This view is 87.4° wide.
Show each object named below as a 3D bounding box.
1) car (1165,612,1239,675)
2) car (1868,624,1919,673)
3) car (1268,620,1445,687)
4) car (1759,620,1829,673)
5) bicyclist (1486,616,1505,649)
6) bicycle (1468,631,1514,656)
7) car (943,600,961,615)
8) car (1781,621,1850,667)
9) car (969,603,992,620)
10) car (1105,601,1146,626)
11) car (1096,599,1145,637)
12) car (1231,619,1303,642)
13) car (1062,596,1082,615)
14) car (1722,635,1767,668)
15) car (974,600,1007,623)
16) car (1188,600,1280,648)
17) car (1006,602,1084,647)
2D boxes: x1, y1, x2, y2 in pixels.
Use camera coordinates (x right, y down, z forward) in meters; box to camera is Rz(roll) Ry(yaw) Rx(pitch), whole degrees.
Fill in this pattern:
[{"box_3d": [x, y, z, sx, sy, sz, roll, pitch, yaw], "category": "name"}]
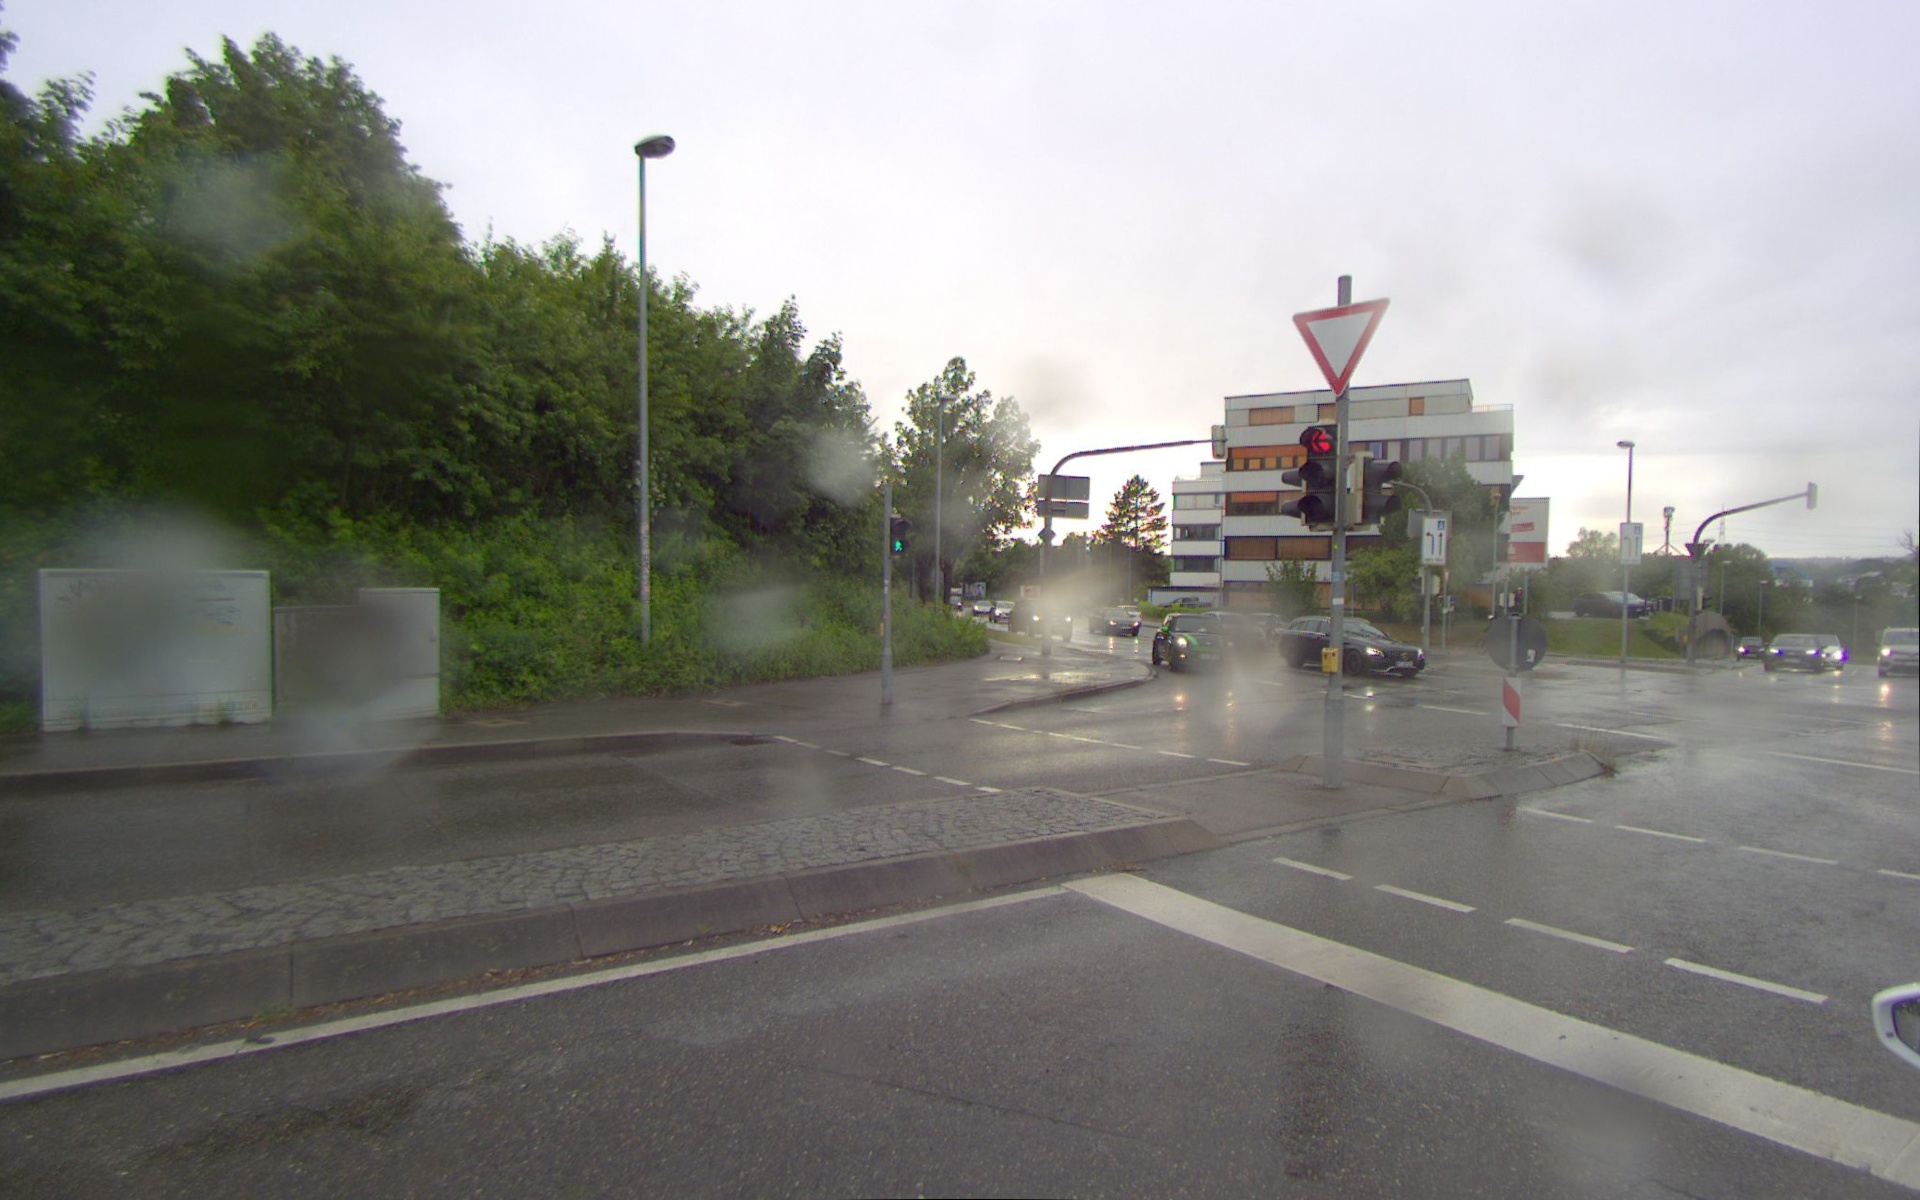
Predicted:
[{"box_3d": [6.147, 1.065, 25.803, 1.647, 1.405, 3.462, 2, 1, 11], "category": "car"}, {"box_3d": [34.902, 1.767, 36.967, 3.974, 1.639, 1.973, 1, 1, -45], "category": "car"}, {"box_3d": [10.602, 1.376, 27.269, 1.968, 1.496, 4.656, 1, 1, -18], "category": "car"}, {"box_3d": [33.609, 1.804, 40.441, 1.971, 1.920, 3.978, 2, 1, 42], "category": "car"}, {"box_3d": [24.442, 1.479, 45.832, 0.597, 1.465, 0.539, 1, 1, -36], "category": "bicyclist"}, {"box_3d": [24.306, 1.979, 46.020, 0.604, 1.066, 1.762, 1, 1, -35], "category": "bicycle"}, {"box_3d": [-0.791, 0.784, 107.115, 1.809, 1.534, 4.000, 1, 0, 1], "category": "car"}, {"box_3d": [38.911, 1.956, 45.648, 3.972, 1.920, 1.974, 1, 1, -44], "category": "car"}, {"box_3d": [1.727, 0.981, 86.990, 1.820, 1.377, 4.445, 1, 1, -1], "category": "car"}, {"box_3d": [12.062, 0.962, 73.349, 1.920, 1.617, 3.995, 1, 1, -6], "category": "car"}, {"box_3d": [8.410, 0.897, 52.788, 1.672, 1.862, 3.998, 1, 1, -4], "category": "car"}, {"box_3d": [17.305, 1.718, 56.629, 3.467, 1.120, 1.810, 2, 1, 43], "category": "car"}, {"box_3d": [11.497, 0.547, 103.011, 1.959, 1.873, 4.002, 1, 1, 6], "category": "car"}, {"box_3d": [51.511, 3.373, 65.926, 1.972, 1.920, 3.977, 2, 1, 43], "category": "car"}, {"box_3d": [2.016, 0.777, 67.902, 1.890, 1.436, 4.150, 1, 1, -3], "category": "car"}, {"box_3d": [10.726, 0.892, 39.597, 1.964, 1.706, 3.992, 1, 1, -10], "category": "car"}, {"box_3d": [3.614, 1.020, 43.692, 1.967, 1.725, 4.597, 1, 1, -15], "category": "car"}]
